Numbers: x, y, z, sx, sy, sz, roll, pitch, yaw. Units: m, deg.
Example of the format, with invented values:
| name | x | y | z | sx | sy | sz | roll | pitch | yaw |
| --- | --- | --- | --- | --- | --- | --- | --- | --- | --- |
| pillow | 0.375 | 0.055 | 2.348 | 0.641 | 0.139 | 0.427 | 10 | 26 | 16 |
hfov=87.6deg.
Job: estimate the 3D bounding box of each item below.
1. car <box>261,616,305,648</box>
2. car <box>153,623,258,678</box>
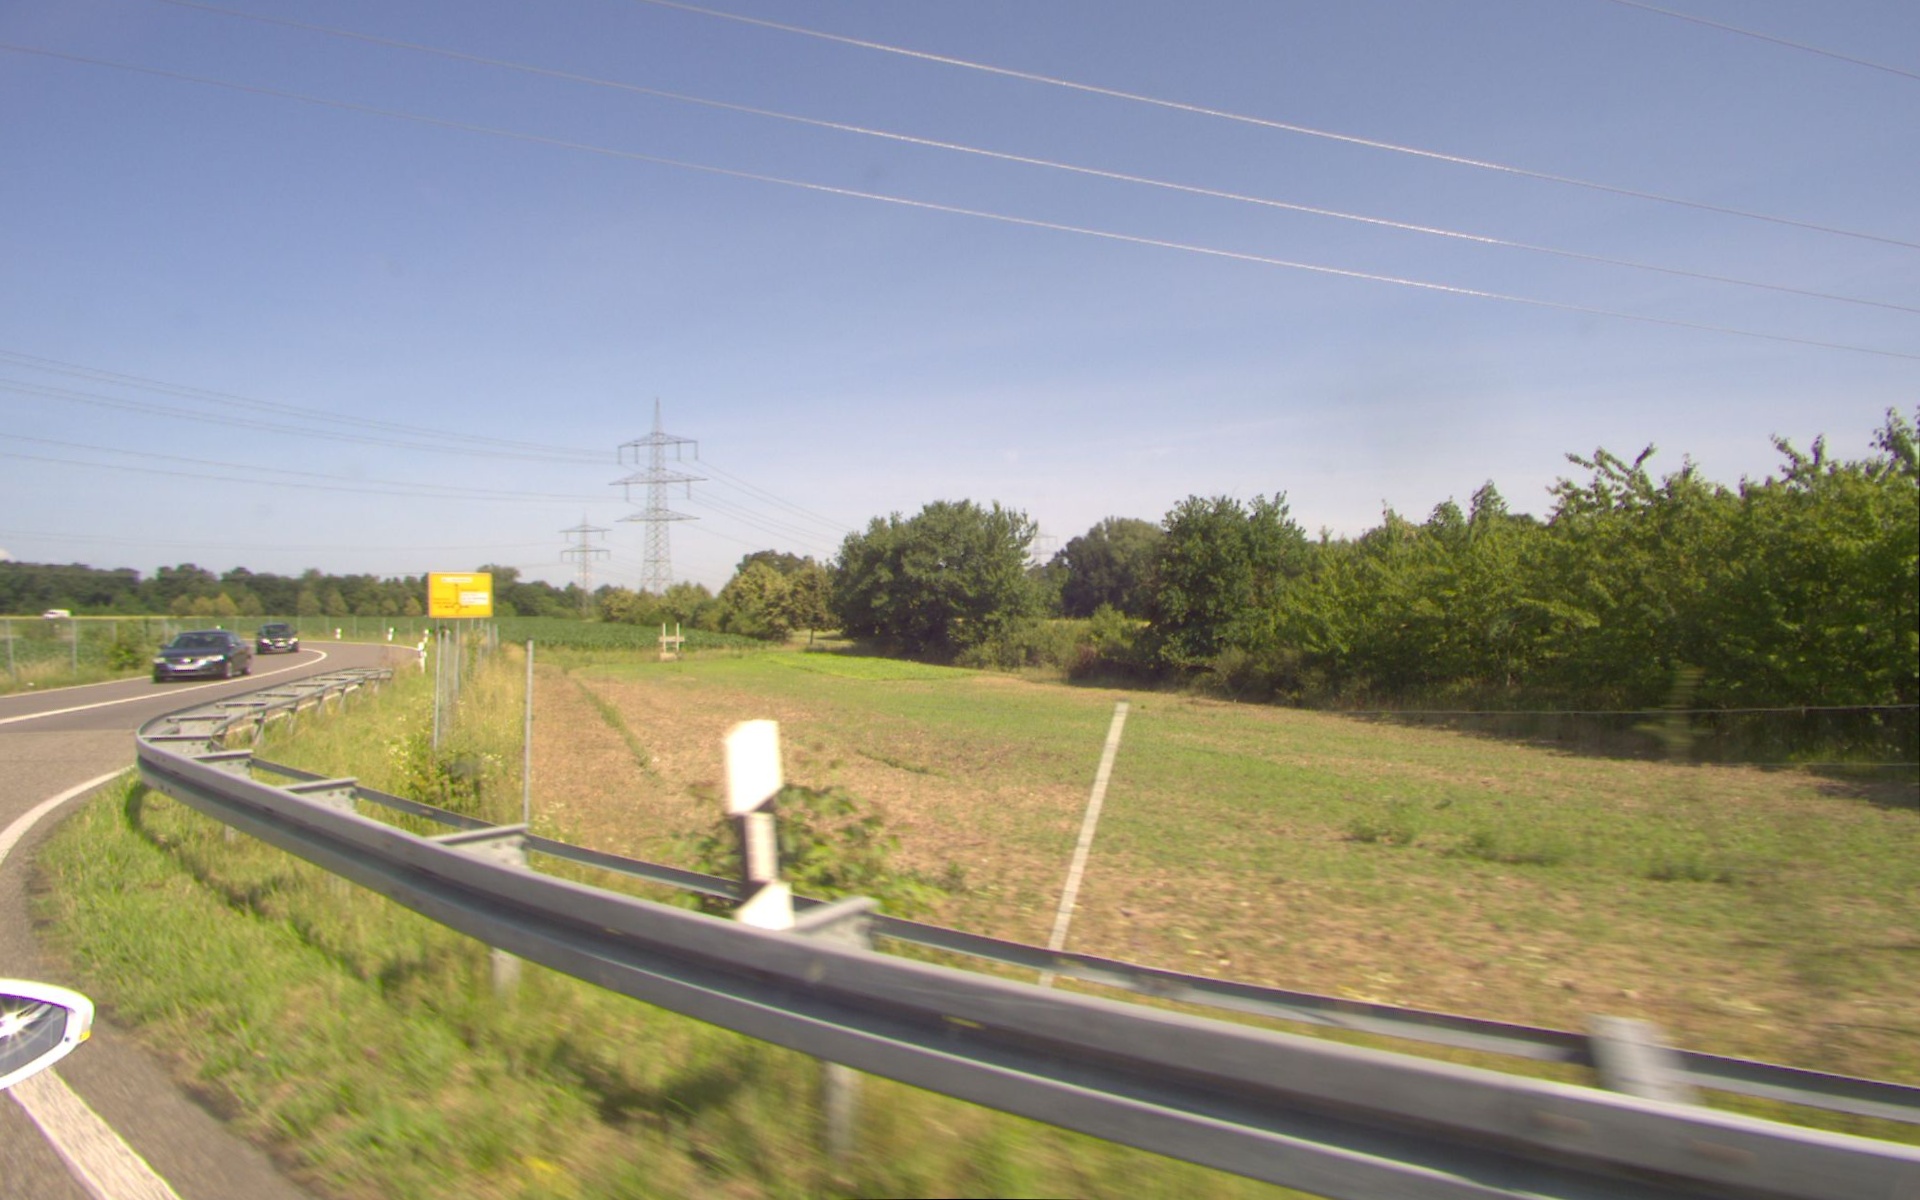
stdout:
| name | x | y | z | sx | sy | sz | roll | pitch | yaw |
| --- | --- | --- | --- | --- | --- | --- | --- | --- | --- |
| car | -38.353 | 1.813 | 56.803 | 1.964 | 1.728 | 4.235 | 1 | -1 | -33 |
| car | -22.713 | 1.461 | 30.323 | 1.754 | 1.476 | 4.572 | -1 | 0 | -27 |
